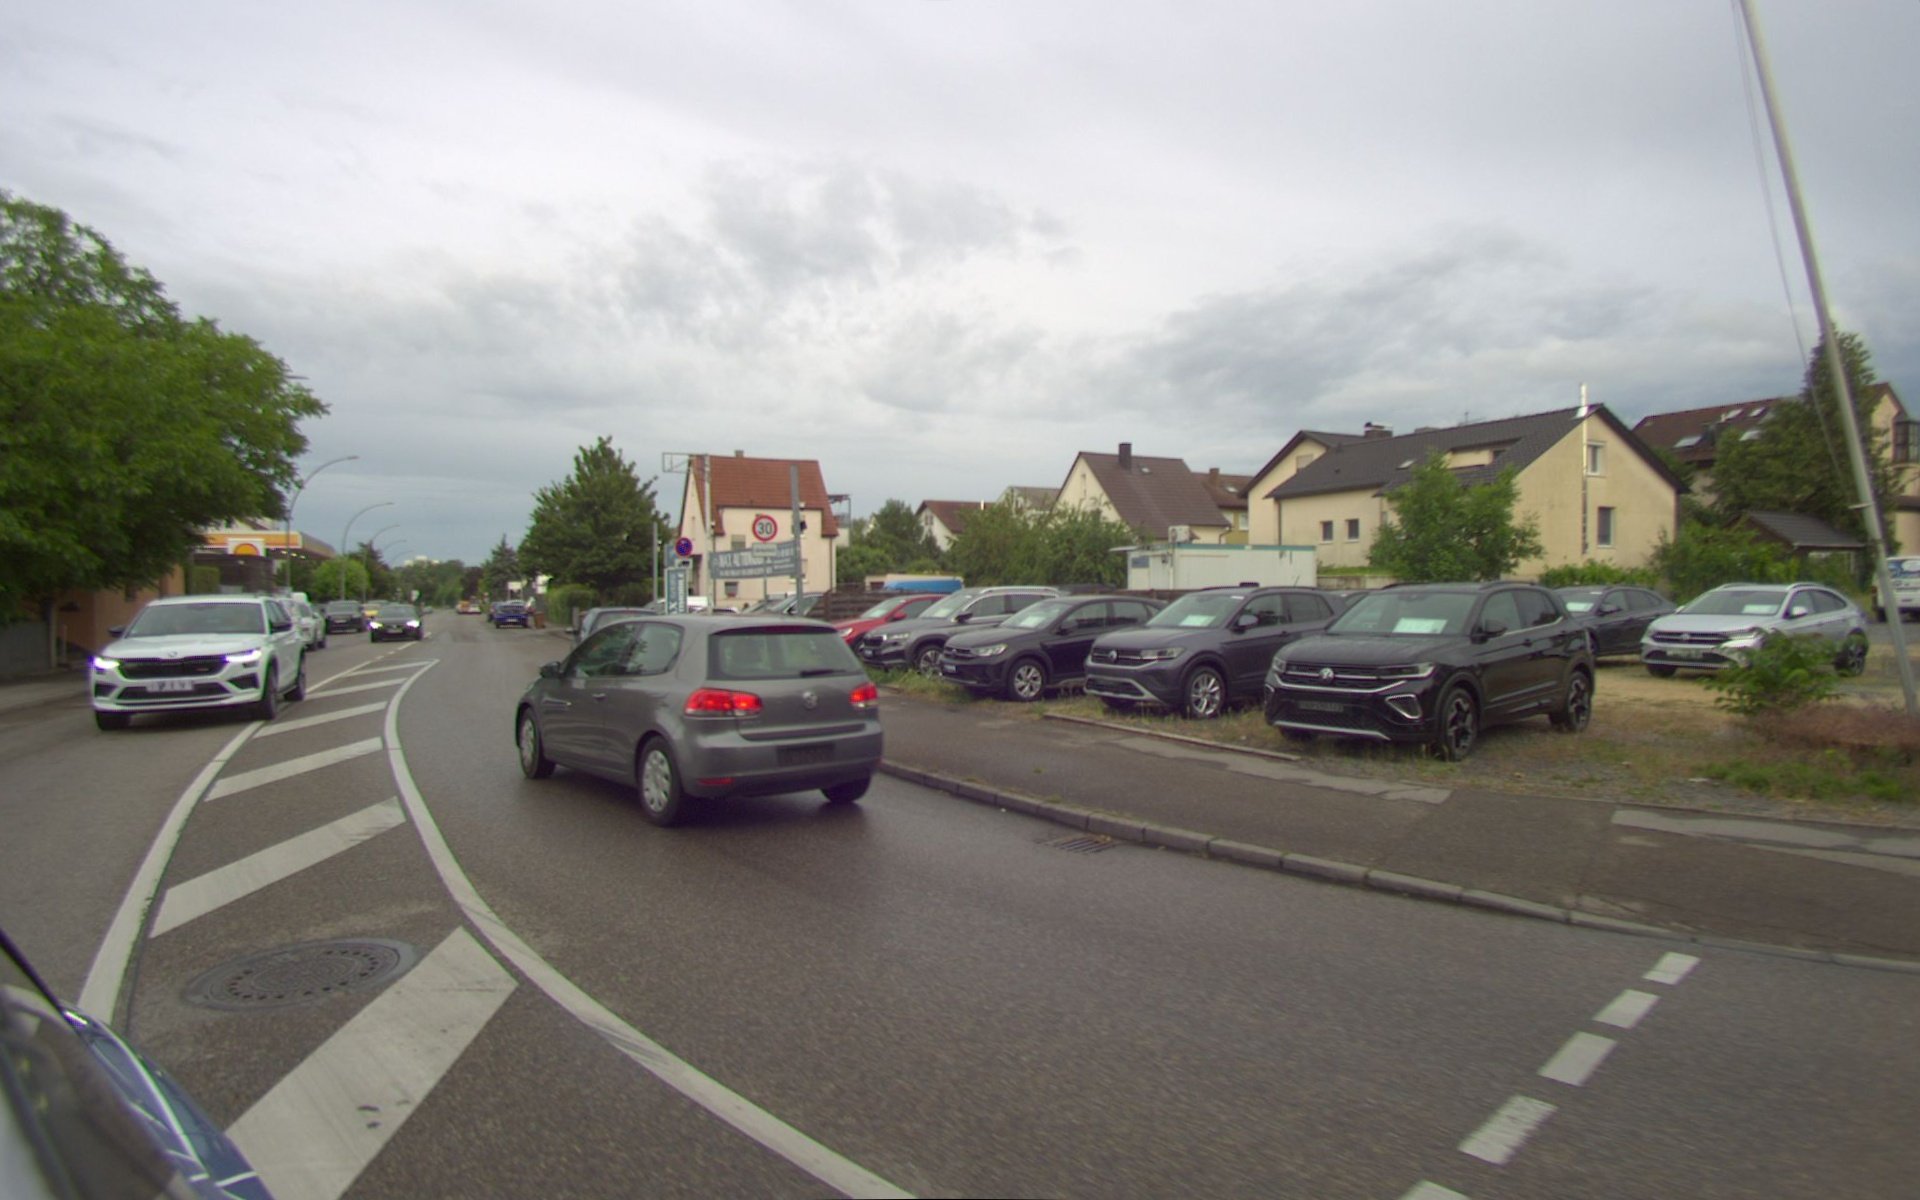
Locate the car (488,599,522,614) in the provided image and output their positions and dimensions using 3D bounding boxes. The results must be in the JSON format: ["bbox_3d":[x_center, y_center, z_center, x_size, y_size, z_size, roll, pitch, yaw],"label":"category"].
[{"bbox_3d":[-61.741,0.833,137.387,3.932,1.659,2.006,-5,2,-29],"label":"car"}]

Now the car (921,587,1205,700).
[{"bbox_3d":[1.587,0.602,15.601,3.931,1.452,1.809,-2,0,-24],"label":"car"}]

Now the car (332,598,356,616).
[{"bbox_3d":[-62.211,0.728,102.203,1.966,1.695,4.012,-1,0,-31],"label":"car"}]

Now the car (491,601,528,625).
[{"bbox_3d":[-27.103,0.787,60.813,1.781,1.413,3.957,1,-1,-27],"label":"car"}]

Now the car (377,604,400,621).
[{"bbox_3d":[-57.780,1.268,102.309,1.965,1.608,4.013,0,-1,-28],"label":"car"}]

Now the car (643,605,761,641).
[{"bbox_3d":[-10.497,0.899,41.211,4.388,1.342,1.777,-1,0,-27],"label":"car"}]

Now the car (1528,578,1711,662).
[{"bbox_3d":[12.520,0.339,19.173,3.583,1.385,1.522,-2,0,-32],"label":"car"}]

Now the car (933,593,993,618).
[{"bbox_3d":[0.196,0.303,58.284,3.178,1.343,1.342,-1,0,-29],"label":"car"}]

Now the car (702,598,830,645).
[{"bbox_3d":[-6.651,0.715,34.693,3.931,1.475,1.845,-1,0,-26],"label":"car"}]

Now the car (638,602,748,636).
[{"bbox_3d":[-11.531,0.794,43.742,4.314,1.384,1.895,-1,0,-27],"label":"car"}]

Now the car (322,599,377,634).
[{"bbox_3d":[-32.633,0.891,54.184,2.062,1.674,4.573,-2,0,-26],"label":"car"}]

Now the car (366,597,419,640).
[{"bbox_3d":[-23.037,0.732,41.205,1.748,1.573,4.013,-2,0,-28],"label":"car"}]

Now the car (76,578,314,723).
[{"bbox_3d":[-10.462,0.608,14.235,1.853,1.673,4.846,0,-1,-27],"label":"car"}]

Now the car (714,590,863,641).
[{"bbox_3d":[-5.466,0.461,32.334,4.286,1.475,1.948,-1,0,-26],"label":"car"}]

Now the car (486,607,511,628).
[{"bbox_3d":[-35.076,1.294,76.921,1.586,1.518,3.719,1,-1,-27],"label":"car"}]

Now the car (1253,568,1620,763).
[{"bbox_3d":[4.838,0.515,10.076,3.895,1.542,1.626,-2,0,-37],"label":"car"}]

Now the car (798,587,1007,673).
[{"bbox_3d":[-1.203,0.573,21.223,3.931,1.555,1.809,-2,0,-24],"label":"car"}]

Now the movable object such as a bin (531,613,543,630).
[{"bbox_3d":[-23.835,1.229,57.007,0.532,0.917,0.507,-4,2,-28],"label":"movable object such as a bin"}]

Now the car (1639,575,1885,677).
[{"bbox_3d":[12.832,0.434,16.188,3.708,1.475,1.596,1,-2,-25],"label":"car"}]

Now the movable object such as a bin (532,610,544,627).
[{"bbox_3d":[-23.585,1.046,56.589,0.532,0.917,0.426,-4,2,-28],"label":"movable object such as a bin"}]

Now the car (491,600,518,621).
[{"bbox_3d":[-31.845,0.719,70.664,1.524,1.413,3.609,1,-1,-27],"label":"car"}]

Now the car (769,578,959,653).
[{"bbox_3d":[-2.394,0.334,25.283,4.286,1.703,1.965,-1,0,-26],"label":"car"}]

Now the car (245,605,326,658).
[{"bbox_3d":[-23.547,1.030,35.476,1.839,1.678,4.334,-2,1,-27],"label":"car"}]

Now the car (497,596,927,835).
[{"bbox_3d":[-2.213,0.827,8.299,1.703,1.467,4.004,3,-4,-42],"label":"car"}]

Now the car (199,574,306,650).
[{"bbox_3d":[-21.111,0.353,30.386,1.753,2.044,4.769,-2,0,-24],"label":"car"}]

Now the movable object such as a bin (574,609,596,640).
[{"bbox_3d":[-14.410,0.932,38.903,0.698,1.138,0.737,-1,0,-27],"label":"movable object such as a bin"}]

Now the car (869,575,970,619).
[{"bbox_3d":[-2.366,-0.203,59.637,5.590,2.392,2.054,-2,0,-27],"label":"car"}]

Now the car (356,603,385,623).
[{"bbox_3d":[-42.763,0.930,73.444,1.633,1.412,3.814,-1,0,-27],"label":"car"}]

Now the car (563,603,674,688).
[{"bbox_3d":[-6.642,0.784,19.456,1.603,1.444,3.696,-1,0,-25],"label":"car"}]

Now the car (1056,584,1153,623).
[{"bbox_3d":[6.187,0.144,43.324,3.682,1.583,1.793,-1,0,-26],"label":"car"}]

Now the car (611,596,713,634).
[{"bbox_3d":[-14.807,0.721,50.347,4.494,1.803,1.903,-1,0,-31],"label":"car"}]

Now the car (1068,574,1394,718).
[{"bbox_3d":[3.531,0.516,13.133,3.891,1.542,1.697,-2,0,-27],"label":"car"}]

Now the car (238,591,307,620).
[{"bbox_3d":[-61.469,0.448,90.553,2.246,2.539,4.738,-1,0,41],"label":"car"}]

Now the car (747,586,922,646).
[{"bbox_3d":[-3.399,0.396,27.403,4.286,1.442,1.965,-1,0,-26],"label":"car"}]

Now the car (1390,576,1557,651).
[{"bbox_3d":[11.249,0.262,22.118,3.583,1.439,1.596,-2,0,-32],"label":"car"}]

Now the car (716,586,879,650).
[{"bbox_3d":[-4.766,0.485,29.747,4.286,1.704,2.065,-1,0,-26],"label":"car"}]

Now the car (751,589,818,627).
[{"bbox_3d":[-9.449,0.425,54.211,1.966,1.945,5.069,0,0,-29],"label":"car"}]

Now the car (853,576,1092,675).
[{"bbox_3d":[0.225,0.422,18.474,3.931,1.555,1.809,-2,0,-24],"label":"car"}]

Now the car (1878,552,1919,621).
[{"bbox_3d":[29.647,-0.464,30.569,4.123,1.988,1.728,-2,0,-32],"label":"car"}]
